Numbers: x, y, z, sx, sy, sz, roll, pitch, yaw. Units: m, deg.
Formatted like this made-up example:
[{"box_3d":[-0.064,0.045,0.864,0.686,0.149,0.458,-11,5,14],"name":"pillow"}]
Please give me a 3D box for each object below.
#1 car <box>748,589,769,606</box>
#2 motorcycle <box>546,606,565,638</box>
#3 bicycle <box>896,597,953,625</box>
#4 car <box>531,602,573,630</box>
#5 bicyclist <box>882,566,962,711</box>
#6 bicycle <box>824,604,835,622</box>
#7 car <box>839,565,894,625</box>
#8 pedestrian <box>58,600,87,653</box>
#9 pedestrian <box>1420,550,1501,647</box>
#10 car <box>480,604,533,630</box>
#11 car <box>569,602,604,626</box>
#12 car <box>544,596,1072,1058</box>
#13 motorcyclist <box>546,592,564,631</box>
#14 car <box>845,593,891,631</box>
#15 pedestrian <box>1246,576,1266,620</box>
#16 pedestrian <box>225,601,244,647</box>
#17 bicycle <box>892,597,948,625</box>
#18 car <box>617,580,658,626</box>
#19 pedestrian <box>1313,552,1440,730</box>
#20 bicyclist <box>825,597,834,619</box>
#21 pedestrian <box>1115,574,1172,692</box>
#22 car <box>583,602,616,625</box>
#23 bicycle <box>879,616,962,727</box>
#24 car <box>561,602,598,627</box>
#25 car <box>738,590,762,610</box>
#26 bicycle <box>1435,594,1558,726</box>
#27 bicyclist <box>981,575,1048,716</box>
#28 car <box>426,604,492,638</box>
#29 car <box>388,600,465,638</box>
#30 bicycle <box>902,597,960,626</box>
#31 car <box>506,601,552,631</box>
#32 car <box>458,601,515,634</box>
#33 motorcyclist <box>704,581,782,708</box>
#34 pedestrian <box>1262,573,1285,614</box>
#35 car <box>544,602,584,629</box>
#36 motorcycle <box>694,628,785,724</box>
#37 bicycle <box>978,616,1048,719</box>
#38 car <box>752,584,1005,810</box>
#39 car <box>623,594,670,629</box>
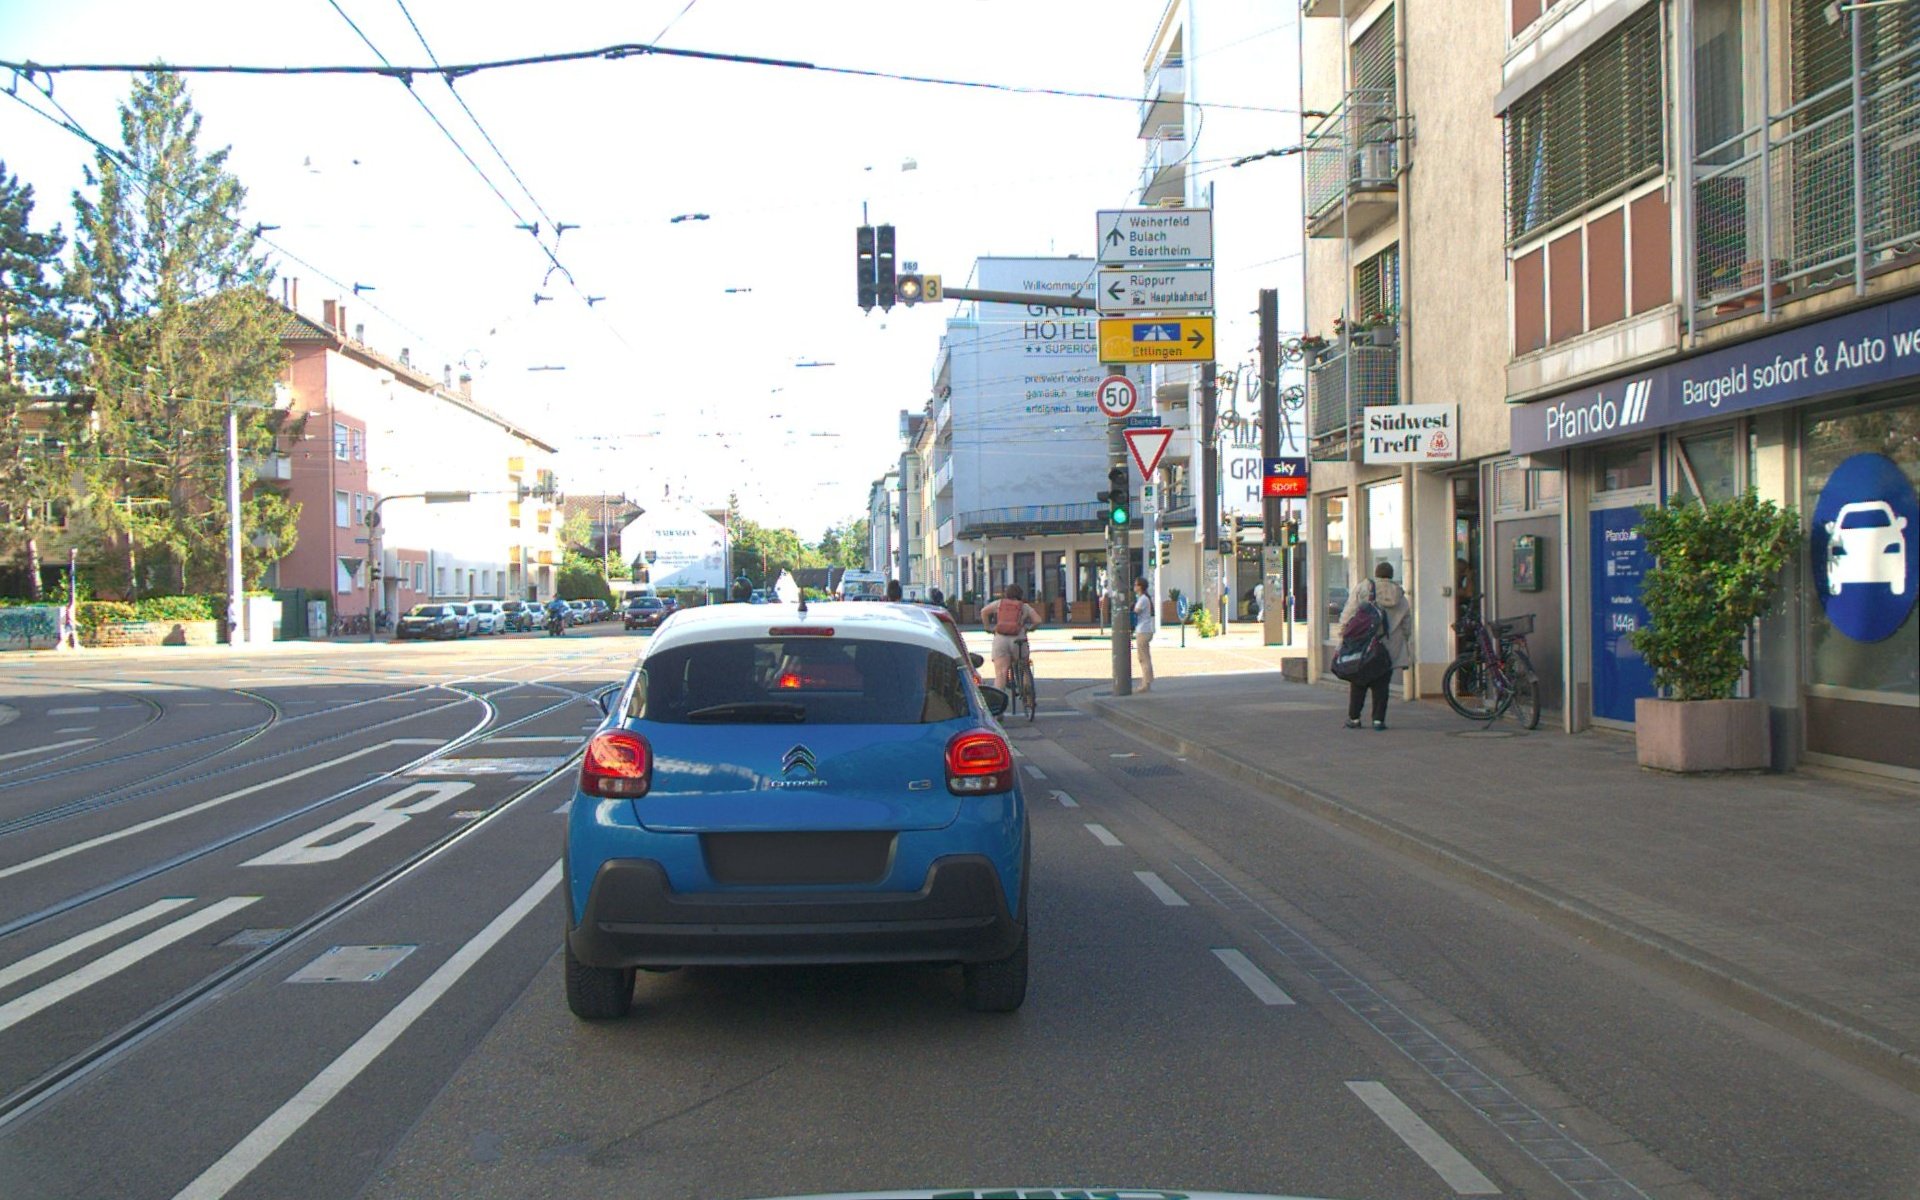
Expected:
[{"box_3d":[-22.836,-0.263,187.482,2.033,1.793,5.032,1,0,-4],"name":"car"},{"box_3d":[-16.322,0.890,66.712,0.700,1.241,1.958,-1,-2,-14],"name":"motorcycle"},{"box_3d":[-1.436,0.443,67.139,2.208,1.019,0.855,-2,0,-6],"name":"bicycle"},{"box_3d":[-24.082,0.912,97.746,1.833,1.604,3.995,1,0,-6],"name":"car"},{"box_3d":[-0.470,0.460,20.111,0.921,1.702,1.079,1,0,-2],"name":"bicyclist"},{"box_3d":[-12.133,1.221,153.536,0.774,1.699,2.230,1,0,1],"name":"bicycle"},{"box_3d":[-4.148,-0.209,72.753,2.221,2.525,5.002,0,0,-5],"name":"car"},{"box_3d":[-29.756,0.878,55.464,0.771,1.752,0.699,1,-1,-24],"name":"pedestrian"},{"box_3d":[5.871,-0.025,19.407,0.618,1.106,0.670,-2,1,-38],"name":"pedestrian"},{"box_3d":[-23.483,0.865,85.760,1.909,1.261,4.278,1,0,-5],"name":"car"},{"box_3d":[-25.325,0.951,112.300,1.833,1.604,3.995,1,0,-6],"name":"car"},{"box_3d":[-0.593,0.729,7.186,1.702,1.478,3.660,0,0,-4],"name":"car"},{"box_3d":[-16.373,0.464,66.869,0.681,1.523,0.682,-1,-2,-14],"name":"motorcyclist"},{"box_3d":[-3.798,0.487,67.768,1.626,1.456,3.882,1,0,-7],"name":"car"},{"box_3d":[11.270,-0.073,62.979,0.598,1.636,0.668,1,-1,27],"name":"pedestrian"},{"box_3d":[-25.254,0.827,57.574,0.510,1.596,0.568,1,-1,-28],"name":"pedestrian"},{"box_3d":[-1.656,0.452,68.245,2.208,1.019,0.855,-2,0,-6],"name":"bicycle"},{"box_3d":[-23.127,0.240,118.778,2.370,3.197,3.486,1,0,-4],"name":"car"},{"box_3d":[3.995,0.377,15.901,0.868,1.619,0.809,-3,1,-9],"name":"pedestrian"},{"box_3d":[-12.125,0.720,153.542,0.774,2.060,0.986,1,-1,0],"name":"bicyclist"},{"box_3d":[2.690,0.481,24.188,0.528,1.652,0.733,-5,-2,21],"name":"pedestrian"},{"box_3d":[-25.842,0.968,118.504,1.833,1.604,3.995,1,0,-6],"name":"car"},{"box_3d":[-0.485,0.827,19.991,0.921,1.245,2.094,1,0,-2],"name":"bicycle"},{"box_3d":[-24.744,0.942,107.576,1.833,1.604,3.995,1,0,-6],"name":"car"},{"box_3d":[-21.510,0.033,169.631,2.174,1.965,4.945,1,0,-4],"name":"car"},{"box_3d":[5.096,0.544,15.808,0.486,1.182,1.776,-1,0,-4],"name":"bicycle"},{"box_3d":[0.695,0.563,20.904,0.794,1.721,0.935,1,0,4],"name":"bicyclist"},{"box_3d":[-22.426,0.908,74.181,1.865,1.462,4.100,1,0,-3],"name":"car"},{"box_3d":[-22.101,0.819,68.701,2.112,1.457,4.435,1,-2,-5],"name":"car"},{"box_3d":[-1.147,0.452,65.776,2.208,1.019,0.855,-2,0,-6],"name":"bicycle"},{"box_3d":[-23.853,0.891,91.689,1.833,1.604,3.995,1,0,-6],"name":"car"},{"box_3d":[-22.635,0.824,79.181,1.707,1.553,4.226,1,0,-4],"name":"car"},{"box_3d":[-2.637,0.535,20.148,0.837,1.514,0.729,1,-1,-1],"name":"motorcyclist"},{"box_3d":[12.388,-0.254,65.396,0.601,1.636,0.664,0,-1,44],"name":"pedestrian"},{"box_3d":[-24.469,0.925,102.291,1.833,1.604,3.995,1,0,-6],"name":"car"},{"box_3d":[-2.636,0.890,19.975,0.837,1.065,1.942,1,0,-1],"name":"motorcycle"},{"box_3d":[0.694,0.819,20.823,0.794,1.202,2.065,1,0,4],"name":"bicycle"},{"box_3d":[-0.737,0.668,13.459,1.750,1.548,3.758,1,1,-5],"name":"car"},{"box_3d":[-14.408,0.529,76.168,1.744,1.512,3.824,-1,0,-5],"name":"car"}]
